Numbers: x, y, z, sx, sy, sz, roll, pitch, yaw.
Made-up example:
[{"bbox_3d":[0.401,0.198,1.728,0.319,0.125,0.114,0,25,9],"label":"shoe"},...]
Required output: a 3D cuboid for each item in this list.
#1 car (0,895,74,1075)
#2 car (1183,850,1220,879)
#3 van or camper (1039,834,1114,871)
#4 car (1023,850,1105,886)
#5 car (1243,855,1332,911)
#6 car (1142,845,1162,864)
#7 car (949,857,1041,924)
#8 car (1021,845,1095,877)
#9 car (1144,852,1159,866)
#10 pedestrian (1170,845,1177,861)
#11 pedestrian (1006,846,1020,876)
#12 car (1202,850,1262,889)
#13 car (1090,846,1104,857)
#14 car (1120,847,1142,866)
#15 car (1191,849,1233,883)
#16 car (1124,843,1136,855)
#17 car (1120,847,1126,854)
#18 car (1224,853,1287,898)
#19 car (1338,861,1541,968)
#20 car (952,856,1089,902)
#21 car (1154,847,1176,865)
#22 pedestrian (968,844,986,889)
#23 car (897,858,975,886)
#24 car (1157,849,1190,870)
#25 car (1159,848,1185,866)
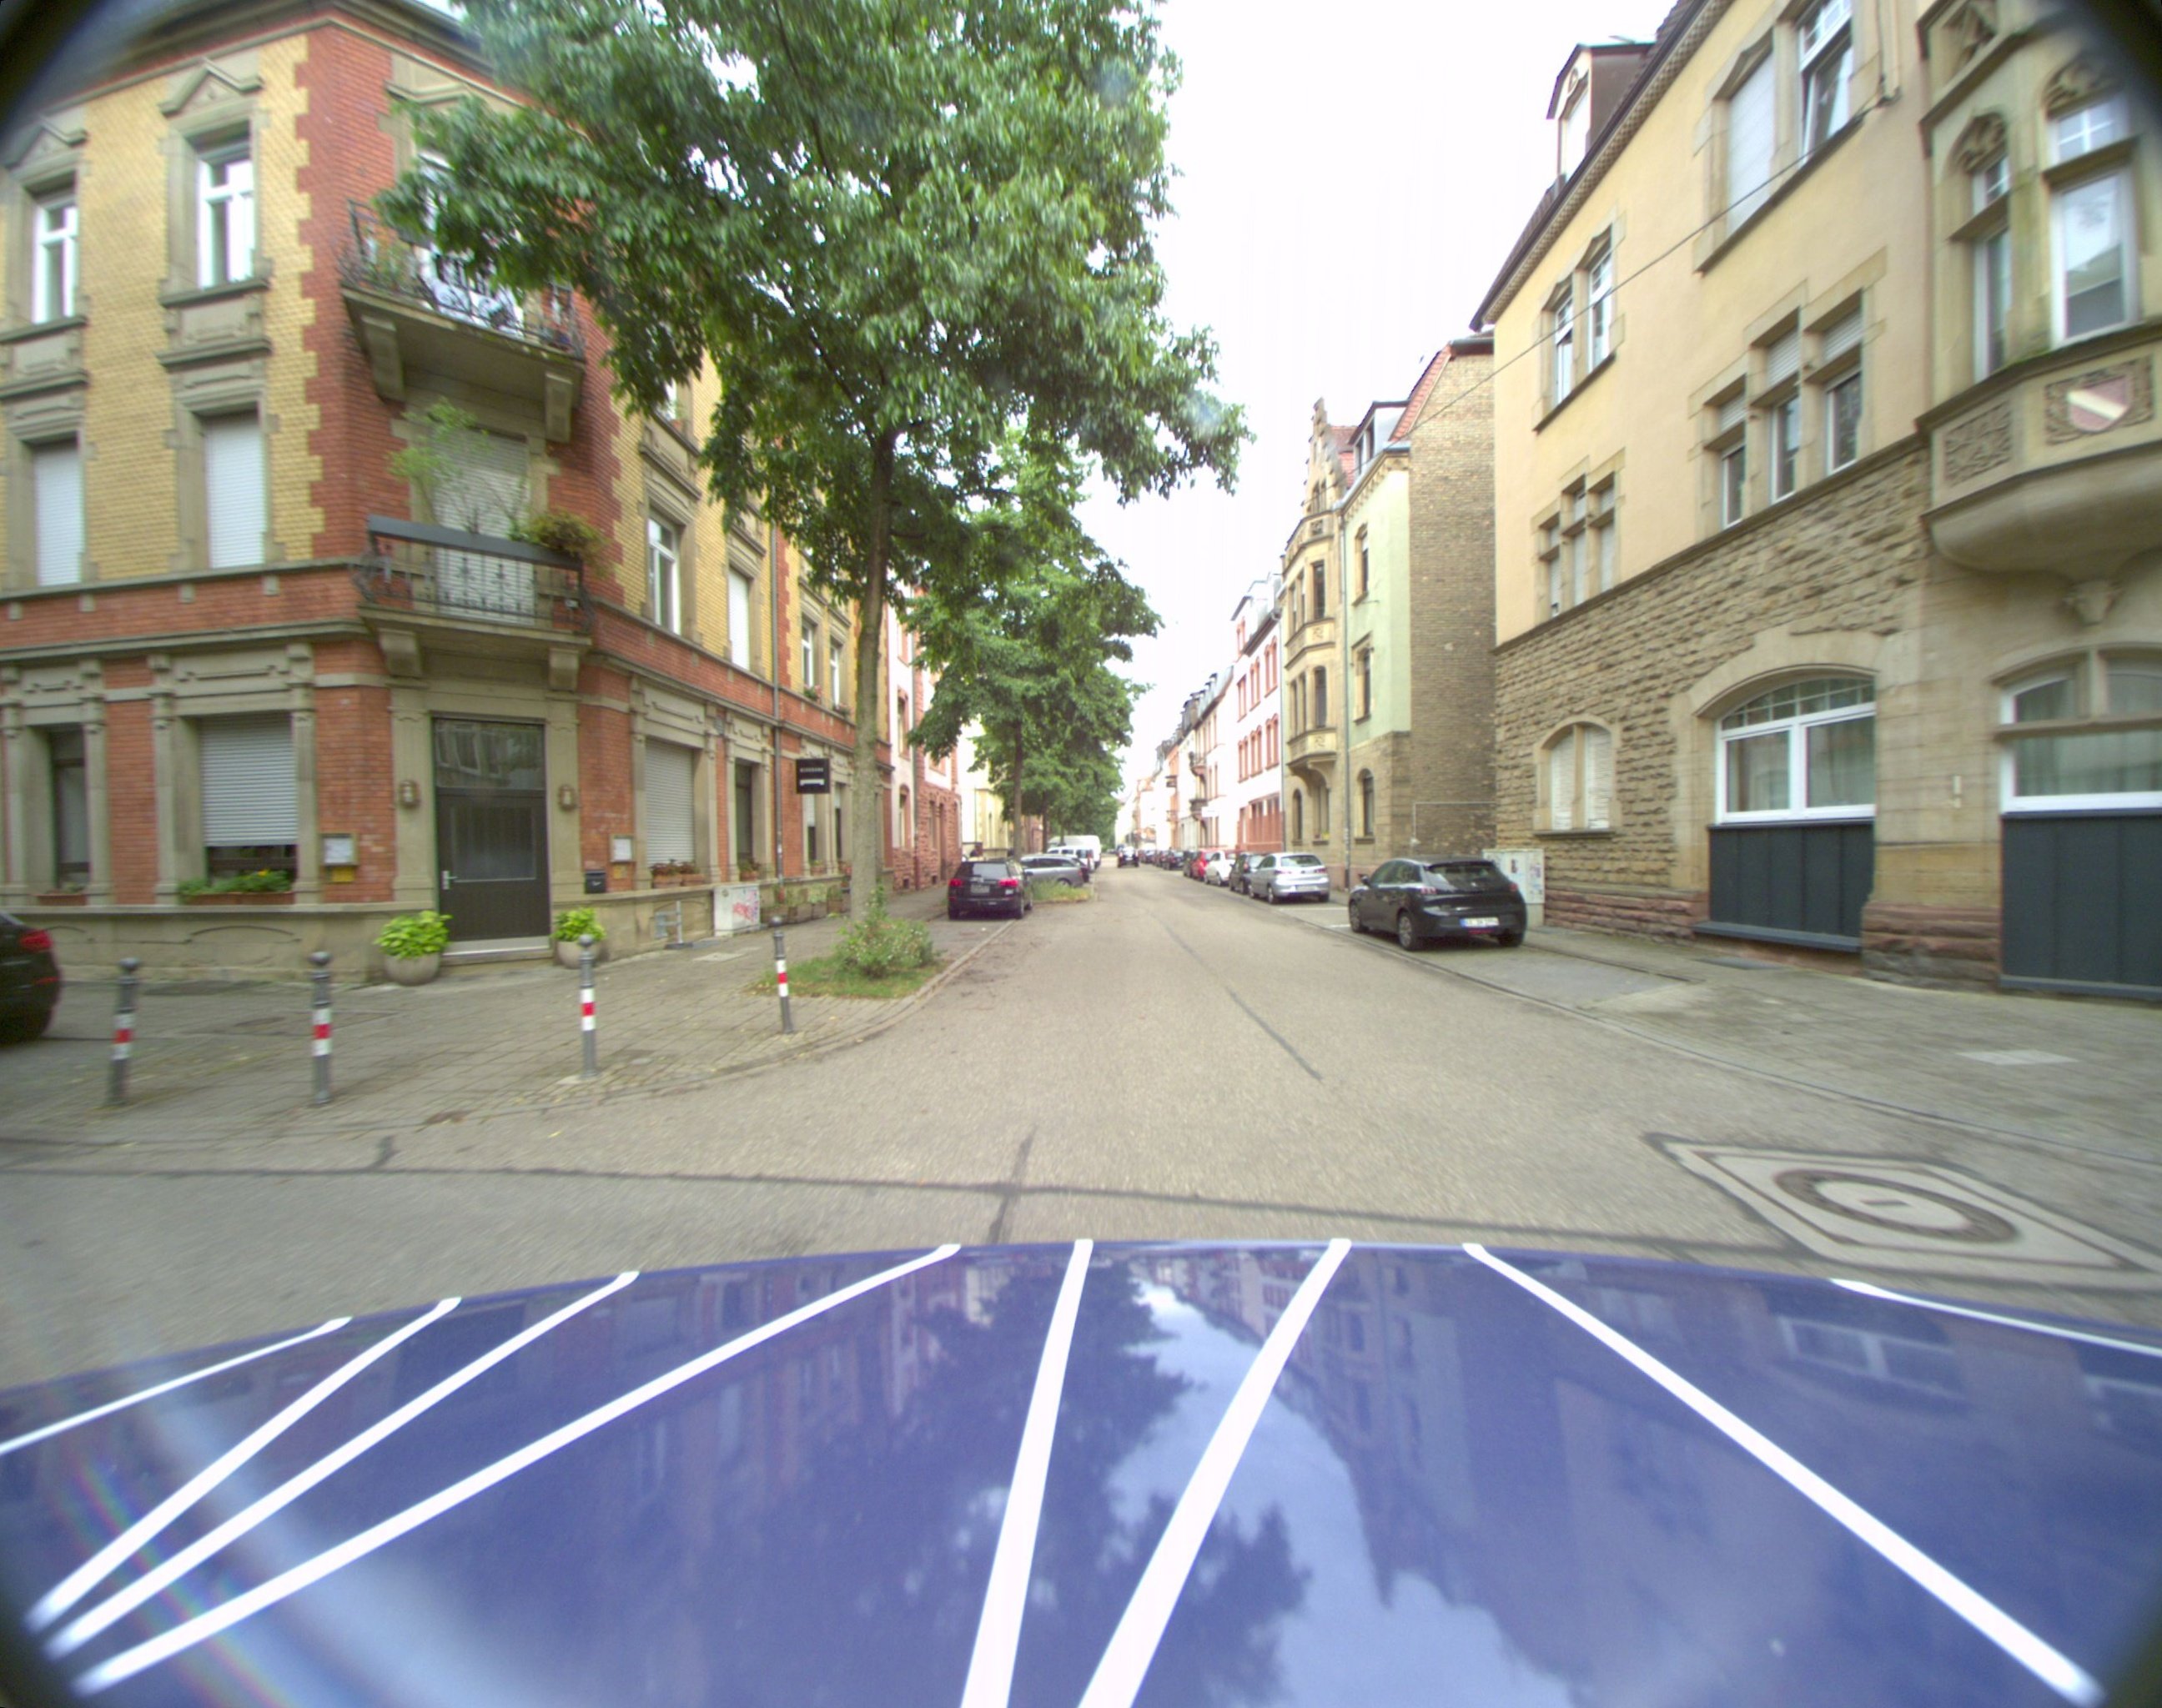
[{"bbox_3d":[-11.346,1.197,6.450,3.829,1.532,1.661,-1,2,8],"label":"car"},{"bbox_3d":[6.441,0.535,40.903,1.469,1.408,3.918,-2,0,2],"label":"car"},{"bbox_3d":[-0.320,-0.137,55.381,5.077,2.576,2.069,-1,1,-29],"label":"van or camper"},{"bbox_3d":[-0.819,0.634,36.001,3.472,1.554,1.783,-2,1,-21],"label":"car"},{"bbox_3d":[6.038,0.795,22.603,1.593,1.425,3.809,-2,0,0],"label":"car"},{"bbox_3d":[7.095,0.026,76.581,1.843,1.849,4.000,-1,1,3],"label":"car"},{"bbox_3d":[-2.114,0.852,19.869,1.768,1.477,4.479,1,1,1],"label":"car"},{"bbox_3d":[-1.351,0.415,44.598,3.993,1.801,1.722,-1,1,13],"label":"car"},{"bbox_3d":[7.529,0.508,81.366,1.457,1.401,3.811,-2,0,3],"label":"car"},{"bbox_3d":[8.818,-0.095,72.814,0.577,1.599,0.544,-2,1,1],"label":"pedestrian"},{"bbox_3d":[-4.255,0.431,47.505,0.703,1.801,0.817,-1,1,2],"label":"pedestrian"},{"bbox_3d":[6.321,0.601,32.135,1.671,1.502,3.552,-2,0,-3],"label":"car"},{"bbox_3d":[2.688,-0.398,126.932,1.998,1.740,4.001,-1,0,4],"label":"car"},{"bbox_3d":[4.348,0.187,66.475,1.813,1.621,4.208,-1,1,3],"label":"car"},{"bbox_3d":[6.280,0.537,36.654,1.469,1.521,3.568,-2,0,2],"label":"car"},{"bbox_3d":[9.109,-0.971,141.726,2.052,2.071,3.811,-2,0,3],"label":"car"},{"bbox_3d":[9.829,-0.848,178.729,1.457,1.401,3.811,-2,0,3],"label":"car"},{"bbox_3d":[6.137,0.710,27.029,1.520,1.425,3.456,-2,0,2],"label":"car"},{"bbox_3d":[5.757,0.883,12.769,1.731,1.425,3.882,-2,0,3],"label":"car"},{"bbox_3d":[-2.064,0.842,26.430,4.453,1.419,1.754,1,1,-32],"label":"car"},{"bbox_3d":[7.435,0.163,67.532,1.610,1.463,3.342,-1,1,1],"label":"car"},{"bbox_3d":[-4.039,0.481,29.565,0.599,1.723,0.663,0,1,0],"label":"pedestrian"},{"bbox_3d":[-7.978,0.988,42.031,3.997,1.445,1.609,-1,1,1],"label":"car"},{"bbox_3d":[6.451,0.372,53.158,1.904,1.382,4.000,-2,0,2],"label":"car"},{"bbox_3d":[7.305,0.235,61.238,1.659,1.375,3.472,-2,1,2],"label":"car"}]
